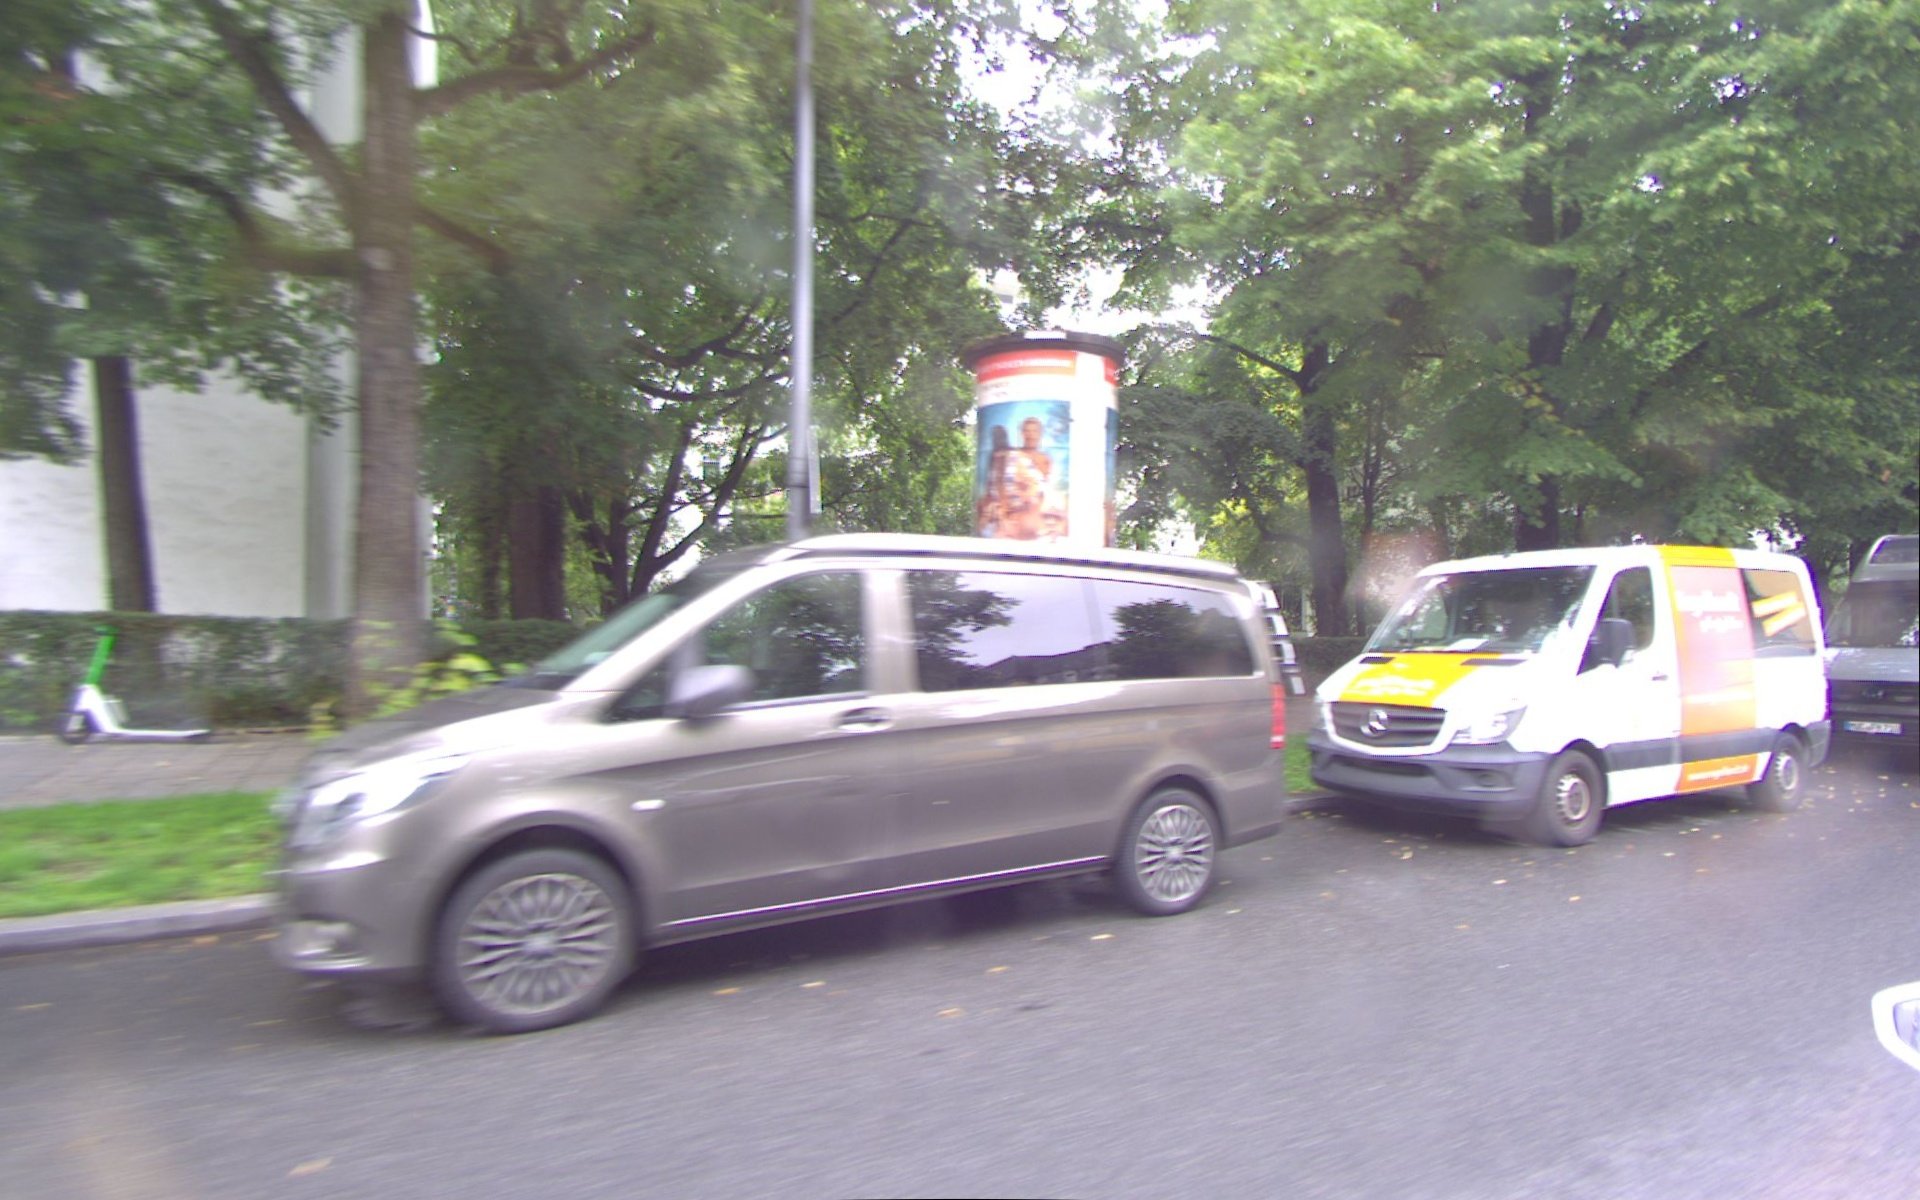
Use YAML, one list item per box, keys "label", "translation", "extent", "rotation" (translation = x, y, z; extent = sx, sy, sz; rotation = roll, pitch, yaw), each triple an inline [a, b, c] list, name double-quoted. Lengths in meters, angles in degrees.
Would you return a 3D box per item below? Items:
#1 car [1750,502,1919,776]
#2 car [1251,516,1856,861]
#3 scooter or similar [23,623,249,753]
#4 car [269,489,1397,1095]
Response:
- label: "car"
  translation: [13.074, 0.512, 13.157]
  extent: [6.159, 3.042, 2.163]
  rotation: [2, -1, -30]
- label: "car"
  translation: [5.397, 0.695, 8.948]
  extent: [5.533, 2.294, 2.076]
  rotation: [1, -3, -29]
- label: "scooter or similar"
  translation: [-8.221, 0.850, 10.121]
  extent: [1.638, 1.207, 0.698]
  rotation: [2, -1, -30]
- label: "car"
  translation: [-0.277, 0.714, 5.526]
  extent: [5.601, 1.933, 2.017]
  rotation: [2, -3, -30]
